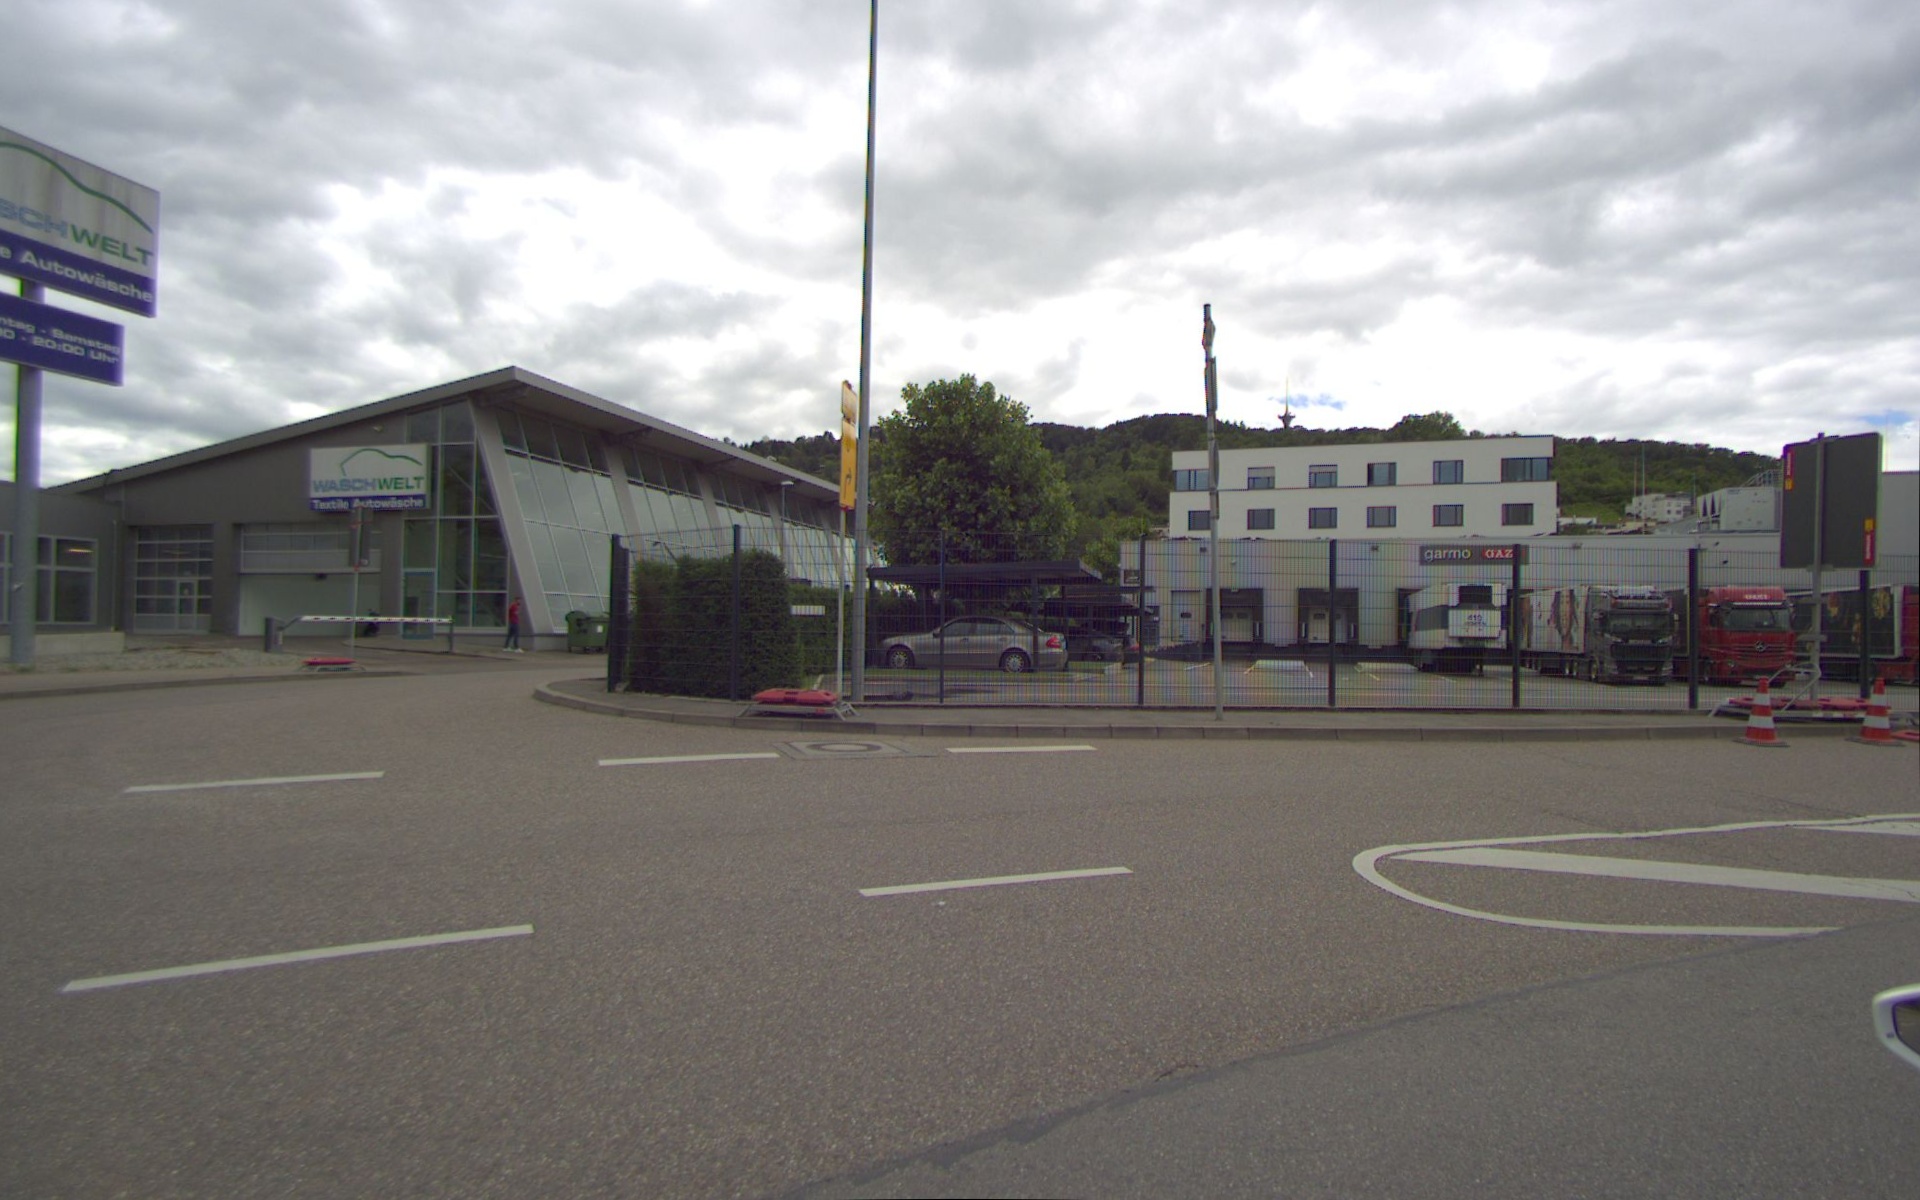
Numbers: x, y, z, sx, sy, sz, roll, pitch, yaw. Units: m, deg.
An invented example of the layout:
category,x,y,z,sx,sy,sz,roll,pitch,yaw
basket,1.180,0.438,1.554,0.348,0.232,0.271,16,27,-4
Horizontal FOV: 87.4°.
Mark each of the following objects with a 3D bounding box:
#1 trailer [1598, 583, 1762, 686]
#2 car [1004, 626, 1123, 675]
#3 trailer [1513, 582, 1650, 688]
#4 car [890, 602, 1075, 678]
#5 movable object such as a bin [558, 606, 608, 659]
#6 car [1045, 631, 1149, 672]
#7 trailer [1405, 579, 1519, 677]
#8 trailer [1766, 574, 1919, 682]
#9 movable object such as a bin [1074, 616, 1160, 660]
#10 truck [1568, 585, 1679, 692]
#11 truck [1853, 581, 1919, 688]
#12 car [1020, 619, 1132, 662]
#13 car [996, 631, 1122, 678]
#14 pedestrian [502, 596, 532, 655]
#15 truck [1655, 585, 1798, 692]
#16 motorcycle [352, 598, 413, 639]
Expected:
category,x,y,z,sx,sy,sz,roll,pitch,yaw
trailer,32.545,1.565,46.058,2.736,4.131,11.001,1,-2,17
car,3.850,1.830,36.976,4.161,1.669,1.969,1,-2,12
trailer,28.886,1.648,47.318,2.736,4.357,11.187,1,-2,17
car,0.609,0.946,24.479,4.161,1.692,2.076,1,-2,12
movable object such as a bin,-12.871,1.111,34.312,1.123,1.780,1.059,0,-2,17
car,5.757,2.137,42.059,4.161,1.579,1.969,1,-2,12
trailer,23.884,1.368,48.451,3.029,4.131,11.415,1,-2,17
trailer,39.112,1.281,43.440,2.736,4.131,11.001,1,-2,17
movable object such as a bin,8.666,2.071,55.247,4.507,2.255,2.082,1,-2,12
truck,26.902,1.535,40.925,2.746,4.093,4.167,1,-2,18
truck,37.557,1.364,38.555,2.746,3.980,5.928,1,-2,18
car,4.577,1.570,39.297,4.161,1.579,1.969,1,-2,12
car,3.486,1.861,34.928,4.161,1.512,1.969,1,-2,12
pedestrian,-14.528,0.841,32.969,0.816,1.893,0.715,0,-1,-20
truck,30.988,1.532,40.897,2.746,3.980,5.928,1,-2,18
motorcycle,-24.860,0.802,43.306,0.825,1.732,2.365,1,-1,13
